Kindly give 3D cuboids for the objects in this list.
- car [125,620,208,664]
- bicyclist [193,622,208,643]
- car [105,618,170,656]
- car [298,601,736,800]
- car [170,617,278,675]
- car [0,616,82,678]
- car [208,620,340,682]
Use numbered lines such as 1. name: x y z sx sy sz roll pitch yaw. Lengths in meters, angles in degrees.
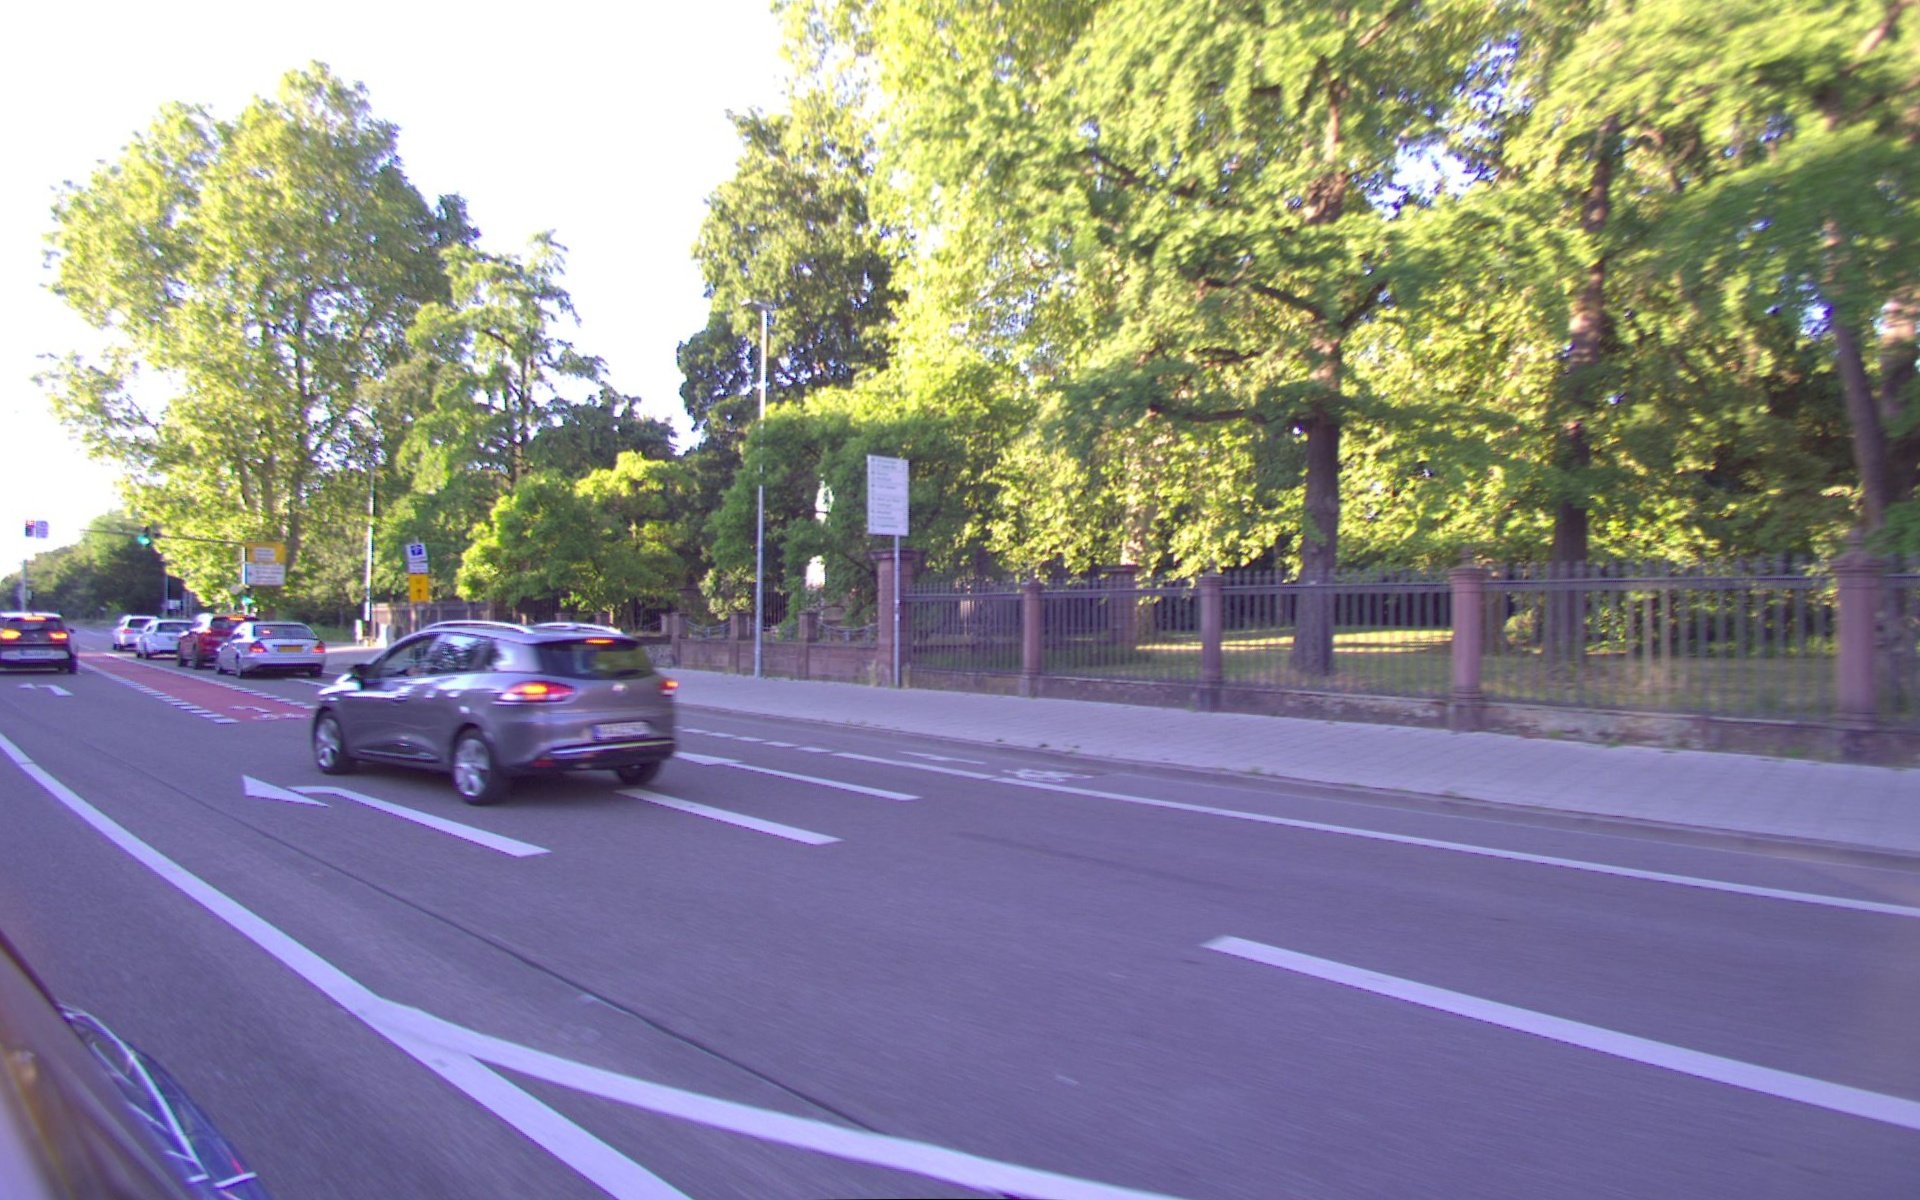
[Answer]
1. car: -30.381 1.604 38.702 4.676 1.595 1.894 -2 -4 45
2. bicyclist: -53.334 2.260 71.079 0.779 1.438 0.893 1 -2 -42
3. car: -39.058 1.733 48.016 4.429 1.708 1.894 -2 -4 45
4. car: -4.132 0.794 9.275 3.990 1.450 1.820 -1 -3 34
5. car: -22.528 1.371 30.899 4.641 1.637 1.894 -2 -4 45
6. car: -24.640 1.219 26.731 4.001 1.538 1.828 -2 -3 44
7. car: -17.694 1.279 26.005 4.772 1.429 1.894 -2 -4 45
